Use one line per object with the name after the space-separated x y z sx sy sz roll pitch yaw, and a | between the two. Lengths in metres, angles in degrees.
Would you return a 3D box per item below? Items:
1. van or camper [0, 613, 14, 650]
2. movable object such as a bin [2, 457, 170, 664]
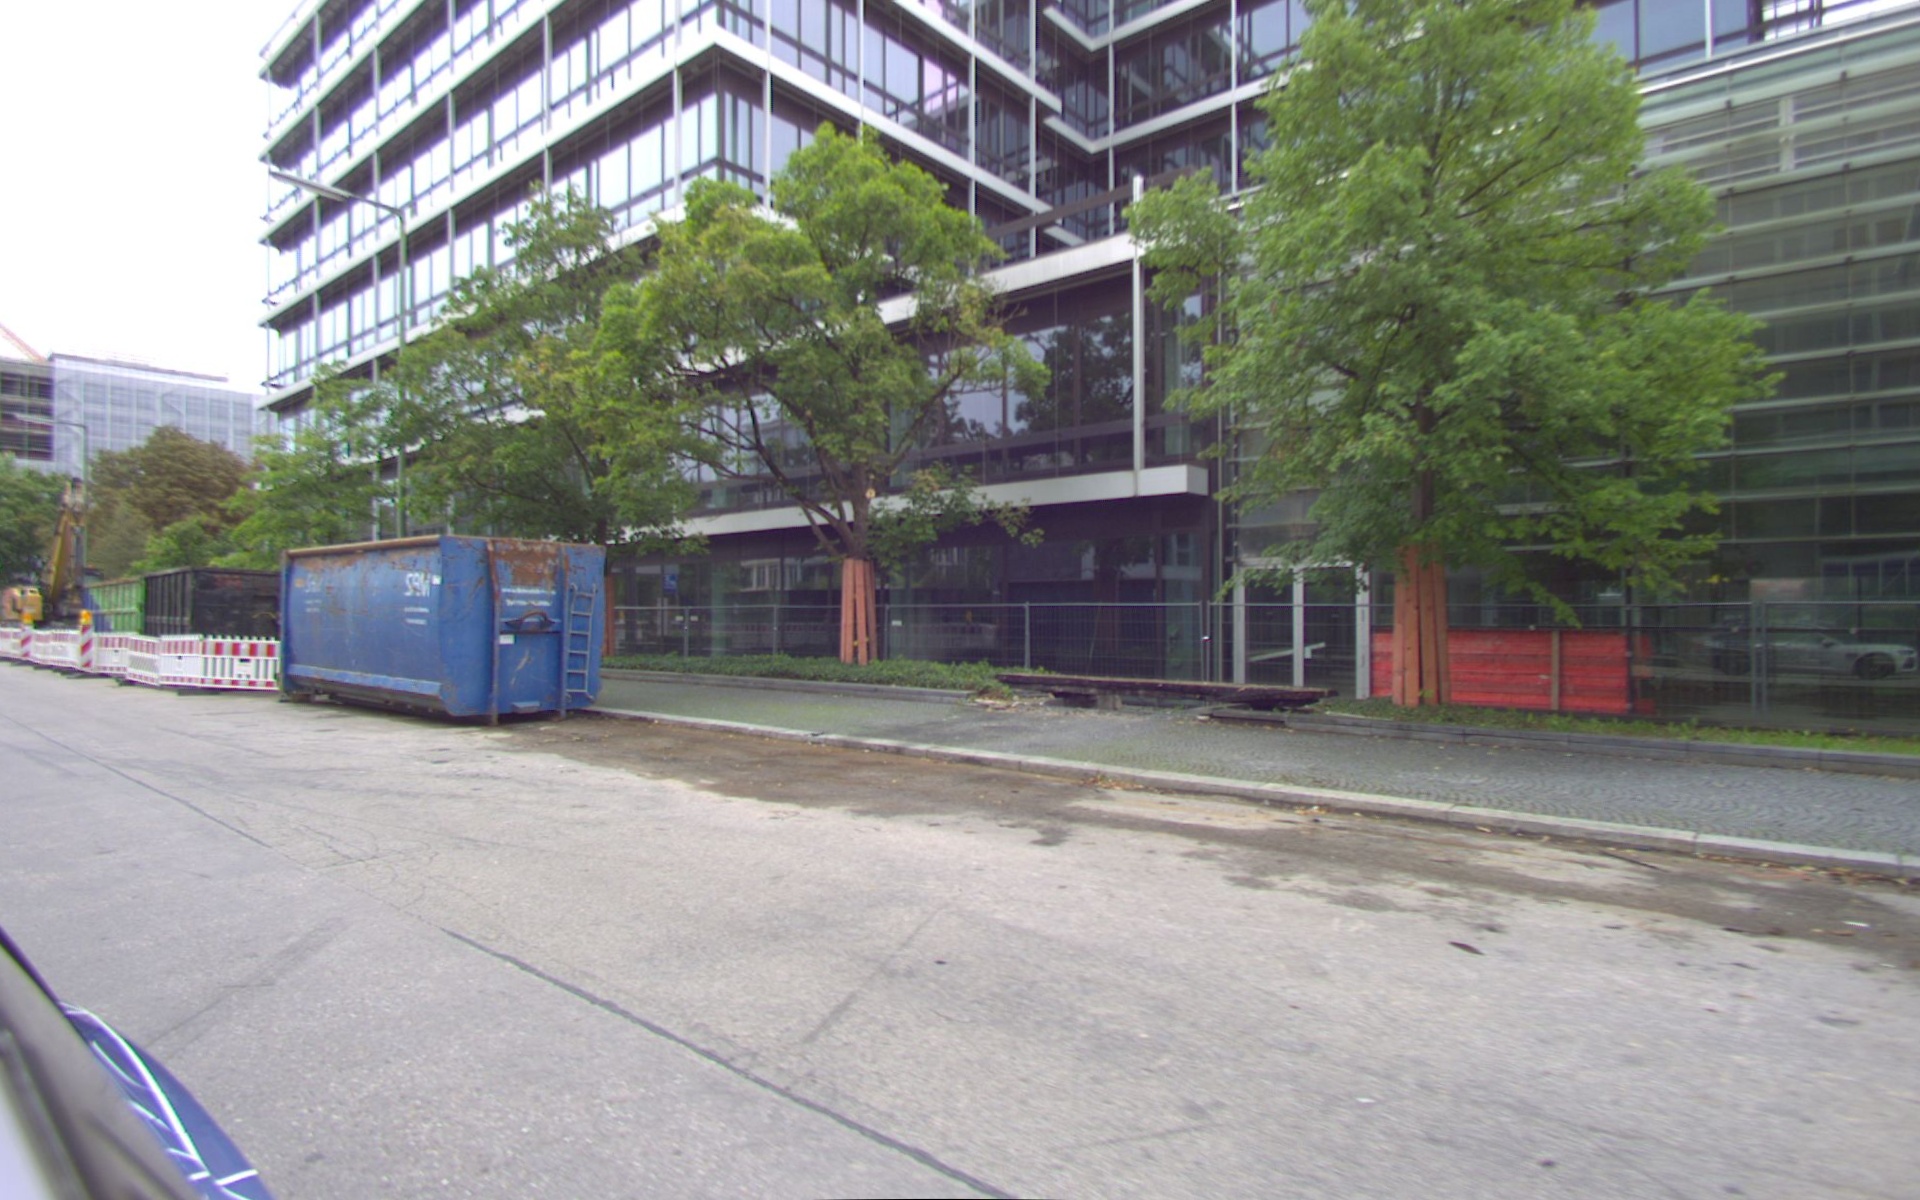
-55.768 1.791 58.025 5.589 2.050 1.966 -2 -3 45 | van or camper
-32.437 -1.201 37.294 11.776 6.614 2.874 -1 -1 41 | movable object such as a bin
